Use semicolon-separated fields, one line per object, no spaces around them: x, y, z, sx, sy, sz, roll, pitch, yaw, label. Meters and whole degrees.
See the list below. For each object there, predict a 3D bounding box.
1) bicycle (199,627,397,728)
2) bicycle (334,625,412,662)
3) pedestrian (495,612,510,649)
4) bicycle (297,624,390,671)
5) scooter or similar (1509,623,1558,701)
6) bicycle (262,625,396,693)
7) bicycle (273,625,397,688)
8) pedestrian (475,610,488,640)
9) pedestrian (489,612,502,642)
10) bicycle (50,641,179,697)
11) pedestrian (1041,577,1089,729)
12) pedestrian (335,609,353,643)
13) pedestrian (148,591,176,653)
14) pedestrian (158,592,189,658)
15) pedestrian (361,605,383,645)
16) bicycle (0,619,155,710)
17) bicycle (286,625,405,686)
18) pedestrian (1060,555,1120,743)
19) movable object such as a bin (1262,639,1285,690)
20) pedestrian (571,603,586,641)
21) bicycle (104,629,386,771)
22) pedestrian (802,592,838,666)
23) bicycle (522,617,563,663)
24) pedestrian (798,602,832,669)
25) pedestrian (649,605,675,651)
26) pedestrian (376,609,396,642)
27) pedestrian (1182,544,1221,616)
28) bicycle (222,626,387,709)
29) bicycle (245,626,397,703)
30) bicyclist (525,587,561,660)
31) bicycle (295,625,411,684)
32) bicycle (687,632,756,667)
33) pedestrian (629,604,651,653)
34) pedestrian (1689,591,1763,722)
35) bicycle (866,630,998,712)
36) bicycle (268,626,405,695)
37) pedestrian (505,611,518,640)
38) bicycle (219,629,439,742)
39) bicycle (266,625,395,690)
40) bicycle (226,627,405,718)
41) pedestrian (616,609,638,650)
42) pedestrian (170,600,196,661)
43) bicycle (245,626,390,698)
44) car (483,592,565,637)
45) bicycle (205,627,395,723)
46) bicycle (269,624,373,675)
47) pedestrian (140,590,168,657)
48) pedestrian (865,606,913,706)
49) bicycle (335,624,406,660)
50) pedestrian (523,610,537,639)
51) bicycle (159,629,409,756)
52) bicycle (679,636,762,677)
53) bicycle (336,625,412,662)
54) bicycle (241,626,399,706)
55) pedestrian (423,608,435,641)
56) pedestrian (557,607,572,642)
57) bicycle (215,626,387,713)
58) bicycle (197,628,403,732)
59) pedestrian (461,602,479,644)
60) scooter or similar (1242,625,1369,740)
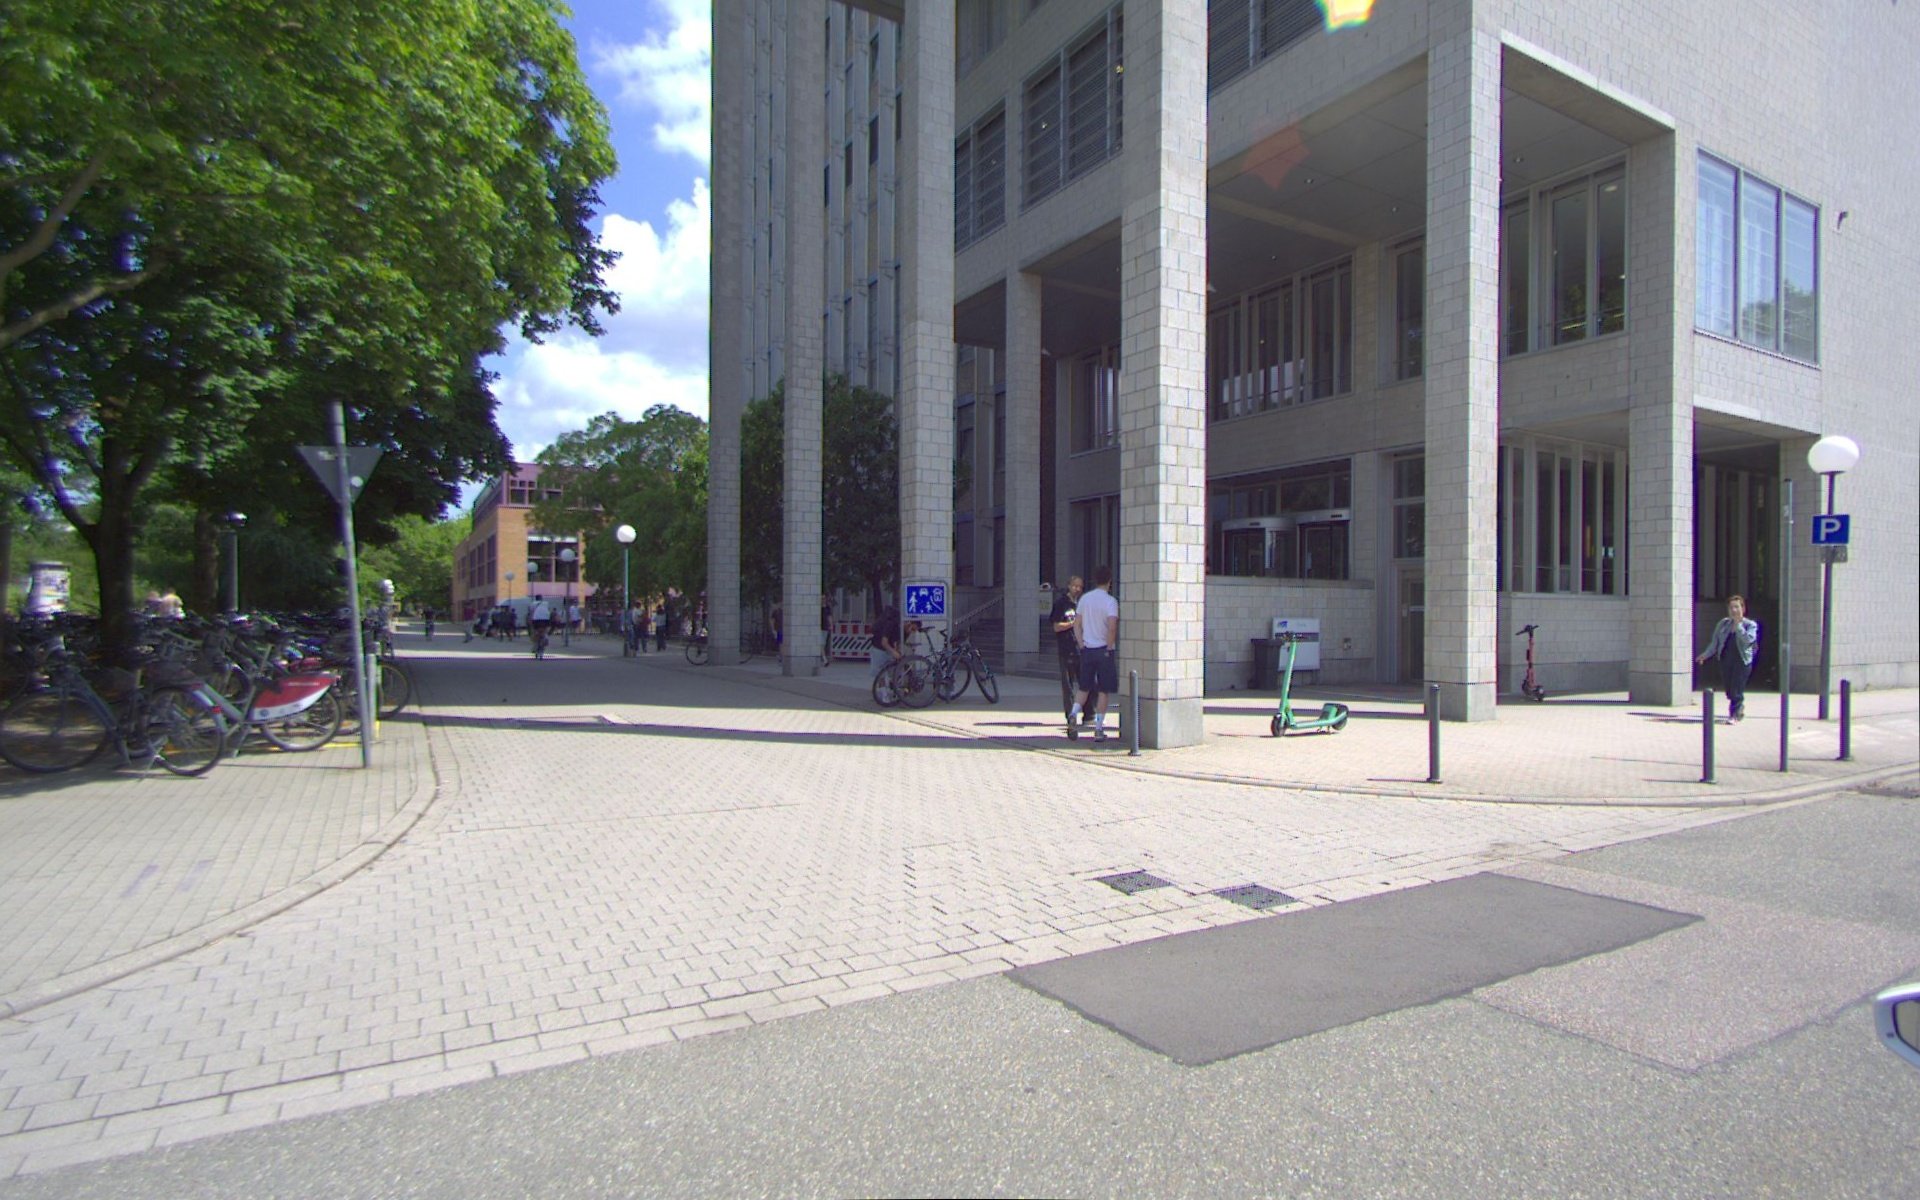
-7.884;0.893;12.066;1.950;1.101;0.549;1;1;-31;bicycle
-17.392;1.285;29.786;1.953;1.037;0.613;0;1;-35;bicycle
-23.768;1.582;52.179;0.690;1.865;0.570;0;0;-28;pedestrian
-15.233;1.161;24.871;1.950;1.101;0.549;1;1;-31;bicycle
9.609;1.011;16.878;0.516;1.226;1.557;0;-1;22;scooter or similar
-10.987;1.010;17.573;1.950;1.101;0.549;1;1;-31;bicycle
-11.699;1.038;18.870;1.950;1.101;0.549;1;1;-31;bicycle
-26.836;1.392;56.308;0.516;1.689;0.600;0;0;-14;pedestrian
-26.032;1.516;56.323;0.595;1.627;0.627;0;0;-30;pedestrian
-13.330;1.071;15.884;0.317;0.773;1.558;1;0;26;bicycle
1.280;0.626;12.196;0.434;1.799;0.450;0;0;30;pedestrian
-29.769;1.267;48.535;0.751;1.617;0.391;0;0;-31;pedestrian
-26.603;0.741;33.498;0.566;2.040;0.532;0;0;-15;pedestrian
-24.428;0.765;31.215;0.583;2.040;0.532;0;0;-15;pedestrian
-25.388;1.075;43.386;0.591;1.718;0.632;0;0;-3;pedestrian
-10.927;0.759;12.114;1.828;1.046;0.473;1;0;-30;bicycle
-11.902;1.056;19.515;1.950;1.101;0.549;1;1;-31;bicycle
1.419;0.515;10.942;0.406;1.968;0.661;1;1;31;pedestrian
5.742;1.175;18.402;0.444;0.907;0.167;0;0;-36;movable object such as a bin
-18.890;1.084;49.772;0.632;1.871;0.658;0;0;-28;pedestrian
-6.118;0.819;8.740;1.950;1.101;0.549;1;1;-31;bicycle
-3.491;0.722;25.048;0.728;1.814;0.621;0;0;-29;pedestrian
-11.817;1.105;28.504;0.871;1.215;2.738;0;0;-18;bicycle
-3.594;0.866;24.938;0.590;1.614;0.824;0;0;-28;pedestrian
-10.545;0.984;35.490;0.776;1.625;0.597;0;0;-28;pedestrian
-28.961;1.280;50.668;0.770;1.637;0.722;2;-1;-27;pedestrian
5.725;-0.469;23.796;0.683;1.683;0.633;0;0;-16;pedestrian
-9.366;0.939;14.434;1.950;1.101;0.549;1;1;-31;bicycle
-9.834;0.966;15.534;1.950;1.101;0.549;1;1;-31;bicycle
-11.817;0.661;28.476;0.863;2.040;0.846;0;0;-19;bicyclist
-12.133;1.072;20.136;1.950;1.101;0.549;1;1;-31;bicycle
-6.018;1.242;25.395;1.667;0.820;0.375;1;0;-31;bicycle
-11.011;0.959;34.593;0.632;1.671;0.597;0;0;-28;pedestrian
10.498;0.755;13.764;0.882;1.724;0.644;0;0;-41;pedestrian
-0.379;0.982;14.244;1.840;1.028;0.463;-2;2;-27;bicycle
-10.564;1.003;17.090;1.950;1.101;0.549;1;1;-31;bicycle
-25.301;1.417;56.653;0.595;1.627;0.627;0;0;-30;pedestrian
-6.706;0.878;10.781;1.950;1.101;0.549;1;1;-31;bicycle
-11.363;1.022;18.190;1.950;1.101;0.549;1;1;-31;bicycle
-8.414;0.920;13.211;1.950;1.101;0.549;1;1;-31;bicycle
-12.667;1.116;38.160;0.710;1.561;0.700;0;0;-26;pedestrian
-26.018;1.019;33.628;0.511;2.040;0.532;0;0;-15;pedestrian
-10.369;0.980;16.298;1.950;1.101;0.549;1;1;-31;bicycle
-28.323;0.935;65.239;4.583;2.813;1.980;1;0;-36;car
-8.204;0.903;12.581;1.950;1.101;0.549;1;1;-31;bicycle
-14.434;1.105;22.750;1.950;1.101;0.549;1;1;-31;bicycle
-25.041;0.728;31.206;0.511;2.040;0.532;0;0;-15;pedestrian
-1.034;0.798;14.525;0.440;1.402;0.462;-4;1;-40;pedestrian
-19.010;1.334;32.411;1.950;1.101;0.549;1;1;-31;bicycle
-24.776;1.419;57.851;0.627;1.627;0.595;0;0;-40;pedestrian
-6.416;0.845;9.665;1.950;1.101;0.549;1;1;-31;bicycle
-6.026;1.403;25.325;1.971;0.959;0.522;0;-1;-31;bicycle
-17.696;1.299;30.348;1.953;1.037;0.613;0;1;-35;bicycle
-9.514;0.956;15.016;1.950;1.101;0.549;1;1;-31;bicycle
-26.658;1.237;50.457;0.489;1.627;0.585;0;0;-25;pedestrian
-19.487;1.197;49.470;0.632;1.733;0.658;0;0;-28;pedestrian
-9.014;0.927;13.832;1.950;1.101;0.549;1;1;-31;bicycle
-7.553;0.885;11.608;1.950;1.101;0.549;1;1;-31;bicycle
-23.407;1.110;48.015;0.748;1.979;0.636;0;0;-28;pedestrian
3.971;0.911;11.514;1.528;1.240;0.453;0;0;-27;scooter or similar
